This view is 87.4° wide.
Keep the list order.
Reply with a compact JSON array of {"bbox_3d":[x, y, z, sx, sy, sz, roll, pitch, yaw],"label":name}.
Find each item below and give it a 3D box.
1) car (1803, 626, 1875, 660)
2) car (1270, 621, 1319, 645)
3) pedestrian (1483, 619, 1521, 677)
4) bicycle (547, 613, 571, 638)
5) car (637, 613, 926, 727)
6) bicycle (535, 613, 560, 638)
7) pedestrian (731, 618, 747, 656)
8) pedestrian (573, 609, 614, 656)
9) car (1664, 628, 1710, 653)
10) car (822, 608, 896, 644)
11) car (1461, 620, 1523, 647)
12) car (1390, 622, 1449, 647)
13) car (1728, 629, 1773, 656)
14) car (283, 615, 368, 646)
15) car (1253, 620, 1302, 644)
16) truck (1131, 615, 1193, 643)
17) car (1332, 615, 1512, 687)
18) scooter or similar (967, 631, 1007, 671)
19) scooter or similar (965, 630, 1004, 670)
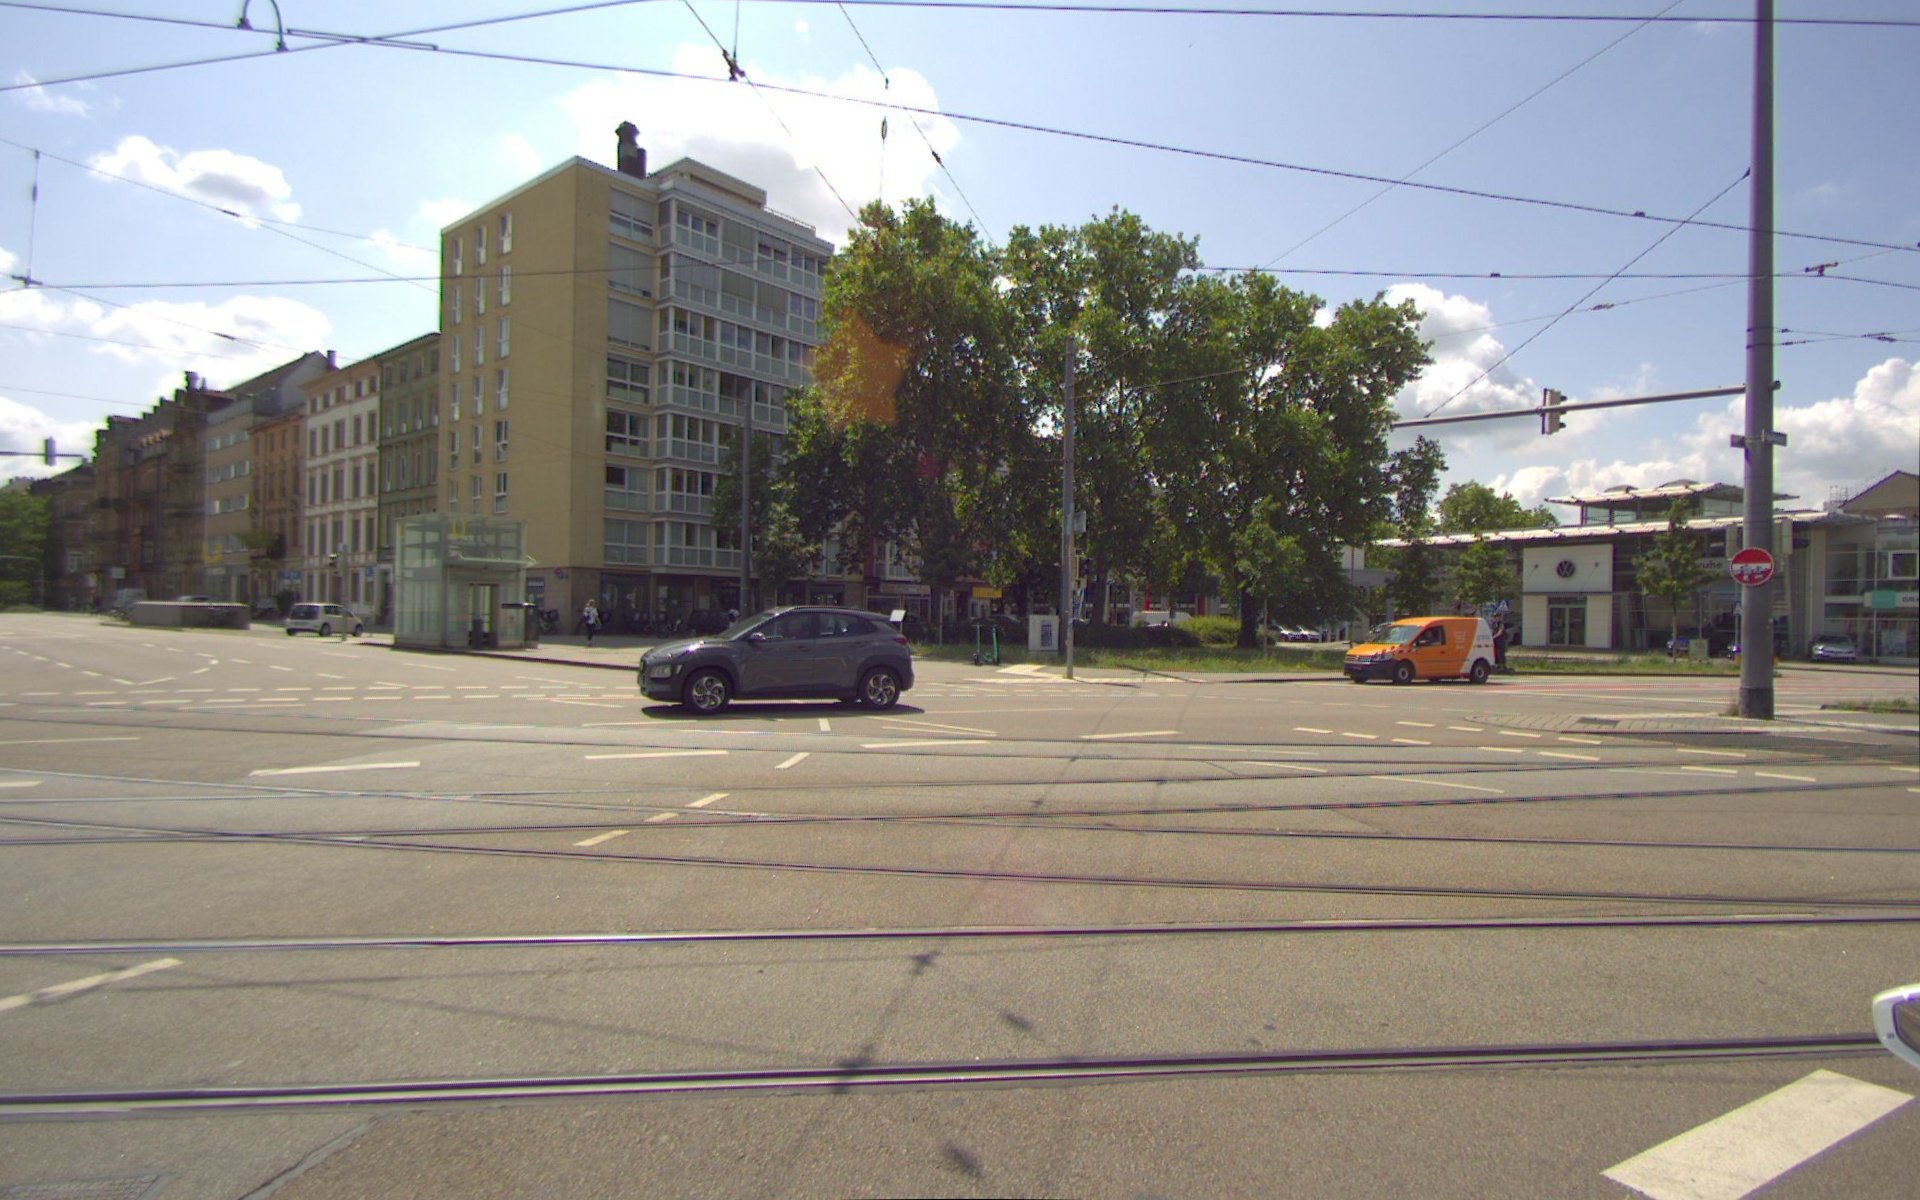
[{"bbox_3d":[44.708,2.198,51.049,3.964,1.595,1.979,3,-1,-37],"label":"car"},{"bbox_3d":[31.778,3.151,95.490,1.974,2.040,4.222,3,-1,-27],"label":"car"},{"bbox_3d":[17.410,1.521,32.284,0.753,1.824,0.759,1,0,-21],"label":"pedestrian"},{"bbox_3d":[-19.503,1.246,48.881,0.502,1.162,2.132,2,-1,-7],"label":"bicycle"},{"bbox_3d":[-2.709,0.975,15.281,4.063,1.552,1.714,0,0,-24],"label":"car"},{"bbox_3d":[-20.120,1.254,49.038,0.524,1.162,2.132,2,-1,-6],"label":"bicycle"},{"bbox_3d":[-10.128,1.692,46.048,0.538,1.745,0.370,2,0,7],"label":"pedestrian"},{"bbox_3d":[-13.246,1.171,36.316,0.847,1.654,1.026,2,0,19],"label":"pedestrian"},{"bbox_3d":[40.101,2.221,55.387,1.629,1.267,3.980,2,-1,41],"label":"car"},{"bbox_3d":[-5.853,1.488,57.989,4.050,1.883,1.975,2,-1,41],"label":"car"},{"bbox_3d":[34.765,2.197,65.605,4.140,1.595,1.979,3,-1,-37],"label":"car"},{"bbox_3d":[32.022,2.396,69.927,4.140,1.595,1.979,3,-1,-37],"label":"car"},{"bbox_3d":[41.393,2.232,52.572,1.629,1.267,3.980,2,-1,41],"label":"car"},{"bbox_3d":[-28.708,1.356,45.547,1.625,1.338,3.357,1,-1,1],"label":"car"},{"bbox_3d":[29.840,3.032,94.453,1.974,2.040,4.222,3,-1,-27],"label":"car"},{"bbox_3d":[15.693,2.249,78.063,4.722,2.148,1.795,1,-1,-30],"label":"truck"},{"bbox_3d":[12.574,1.359,27.335,4.670,1.824,1.715,1,-1,-22],"label":"car"},{"bbox_3d":[0.805,1.507,29.521,1.077,1.130,0.378,3,0,-15],"label":"scooter or similar"},{"bbox_3d":[0.741,1.501,30.244,1.077,1.130,0.378,3,0,-15],"label":"scooter or similar"}]
